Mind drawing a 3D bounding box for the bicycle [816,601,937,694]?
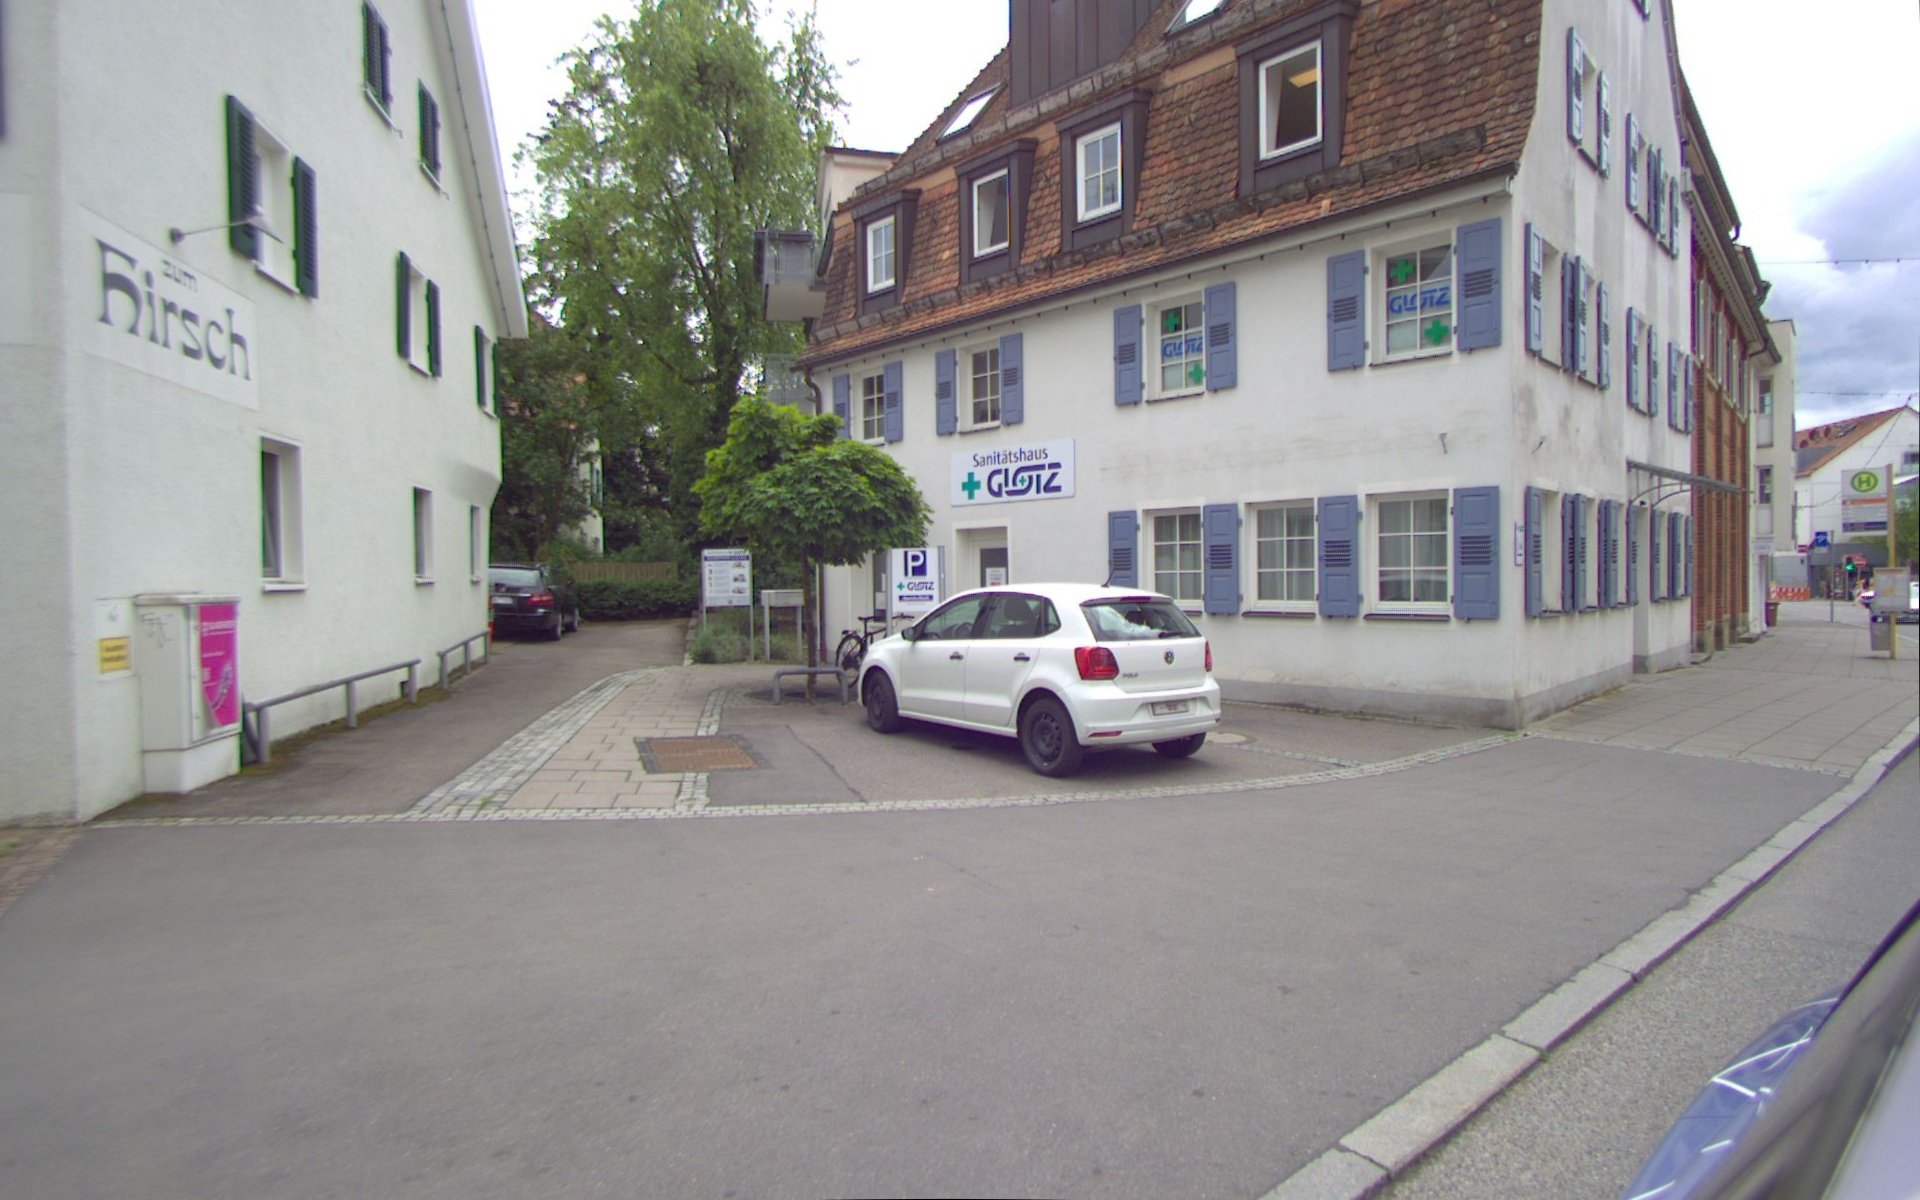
[{"bbox_3d":[-1.108,0.568,13.050,0.604,1.074,1.916,1,0,-38],"label":"bicycle"}]

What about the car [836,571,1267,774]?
[{"bbox_3d":[0.633,0.460,9.231,1.863,1.436,3.803,-1,2,-37],"label":"car"}]

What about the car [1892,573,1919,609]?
[{"bbox_3d":[38.273,-0.391,40.054,1.747,1.372,3.945,0,1,38],"label":"car"}]

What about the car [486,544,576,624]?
[{"bbox_3d":[-11.149,-0.453,26.564,1.958,1.924,4.009,-1,1,-20],"label":"car"}]

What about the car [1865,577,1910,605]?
[{"bbox_3d":[58.229,-0.585,63.597,1.994,1.647,3.940,-1,1,42],"label":"car"}]

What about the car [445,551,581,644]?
[{"bbox_3d":[-8.826,-0.104,20.313,1.873,1.573,4.010,4,1,-16],"label":"car"}]
